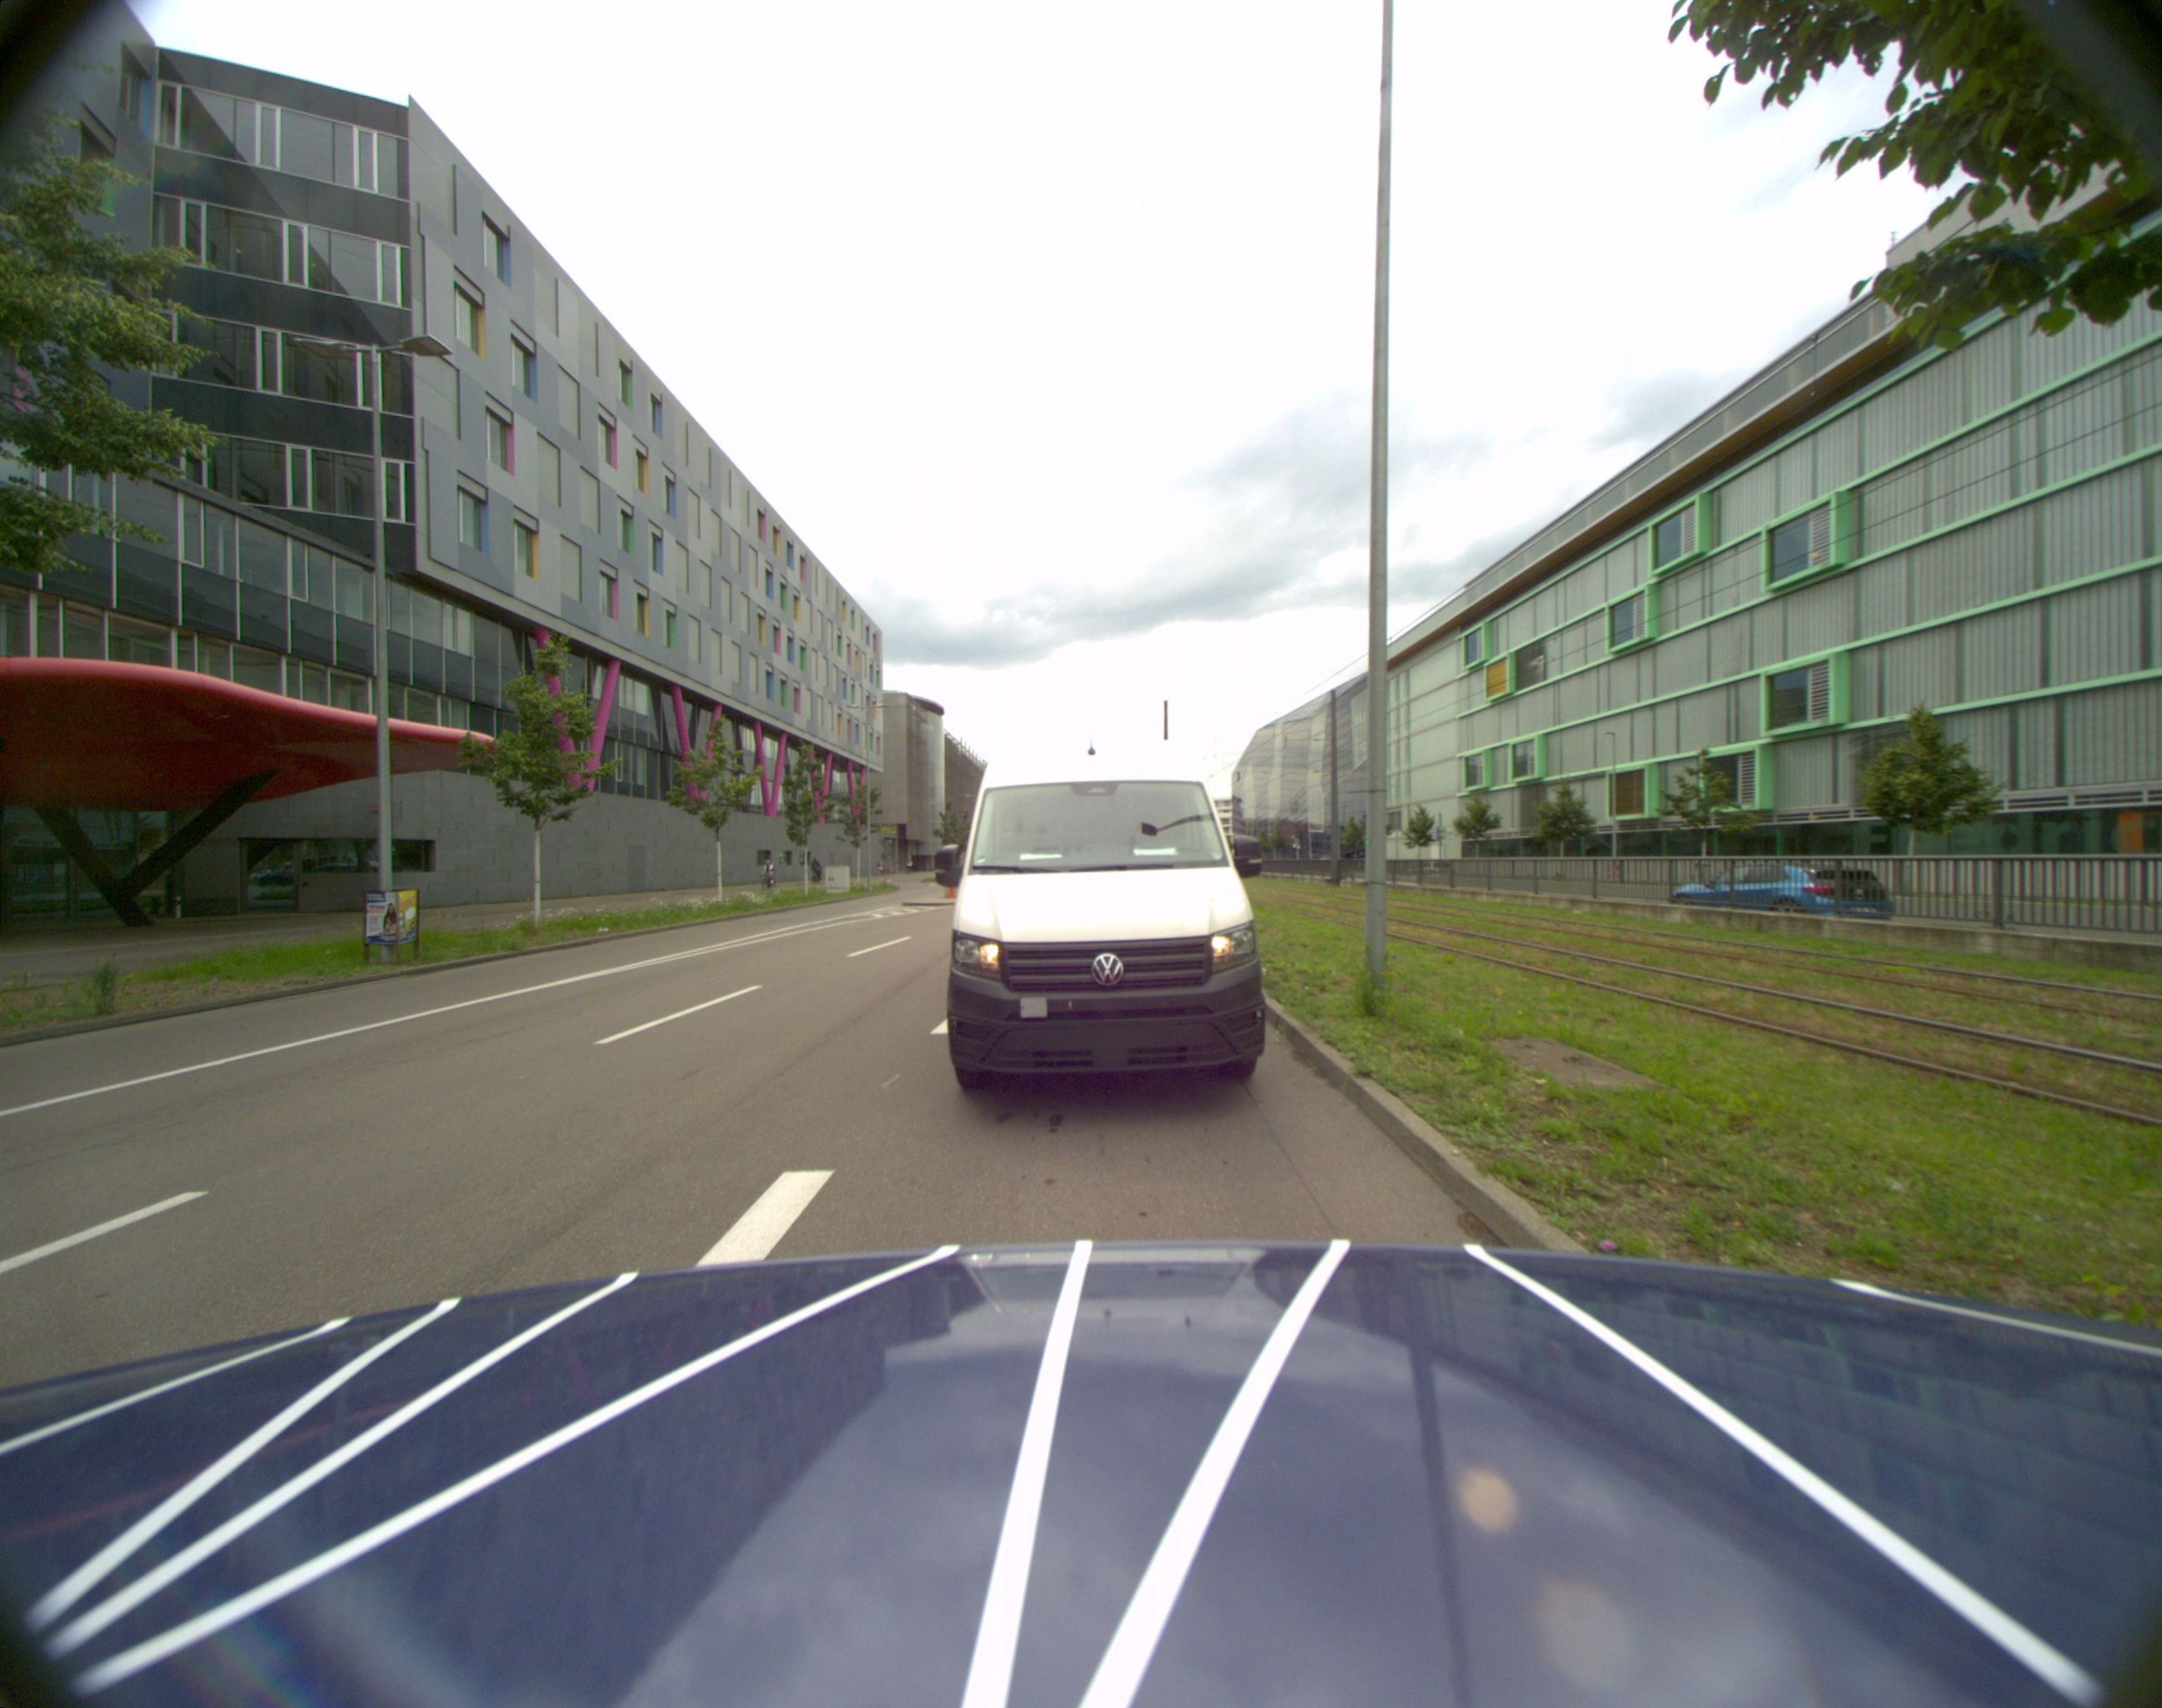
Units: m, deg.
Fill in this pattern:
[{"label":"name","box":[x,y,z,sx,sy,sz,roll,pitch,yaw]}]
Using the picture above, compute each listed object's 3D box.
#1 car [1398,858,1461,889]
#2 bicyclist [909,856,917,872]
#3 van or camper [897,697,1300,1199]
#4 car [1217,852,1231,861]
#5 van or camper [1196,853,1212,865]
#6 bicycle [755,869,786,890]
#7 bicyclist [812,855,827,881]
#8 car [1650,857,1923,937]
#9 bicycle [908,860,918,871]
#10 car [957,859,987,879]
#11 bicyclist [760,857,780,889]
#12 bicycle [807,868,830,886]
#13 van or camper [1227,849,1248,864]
[{"label":"car","box":[23.928,1.311,52.452,1.998,2.002,5.295,-1,0,1]},{"label":"bicyclist","box":[-19.290,1.145,87.222,0.772,1.776,0.974,0,0,-2]},{"label":"van or camper","box":[0.096,0.496,6.467,2.043,2.572,5.041,-1,0,0]},{"label":"car","box":[26.871,0.507,142.677,1.998,1.583,4.769,-1,-2,3]},{"label":"van or camper","box":[24.166,1.046,149.563,2.178,2.273,6.507,-2,0,1]},{"label":"bicycle","box":[-17.745,1.444,43.508,0.801,1.151,2.345,-2,-1,0]},{"label":"bicyclist","box":[-18.353,0.993,53.346,0.784,1.790,0.705,-2,-4,0]},{"label":"car","box":[16.028,0.874,17.708,1.969,1.579,4.688,-1,0,-1]},{"label":"bicycle","box":[-19.283,1.316,87.275,0.785,1.187,2.220,0,0,-2]},{"label":"car","box":[-8.522,1.139,59.656,1.567,1.452,4.342,-2,0,1]},{"label":"bicyclist","box":[-17.757,1.083,43.421,0.784,1.792,0.705,-2,0,0]},{"label":"bicycle","box":[-18.429,1.621,53.357,0.801,1.150,2.346,-2,-4,0]},{"label":"van or camper","box":[24.255,0.389,118.210,2.178,2.273,5.359,0,0,1]}]
